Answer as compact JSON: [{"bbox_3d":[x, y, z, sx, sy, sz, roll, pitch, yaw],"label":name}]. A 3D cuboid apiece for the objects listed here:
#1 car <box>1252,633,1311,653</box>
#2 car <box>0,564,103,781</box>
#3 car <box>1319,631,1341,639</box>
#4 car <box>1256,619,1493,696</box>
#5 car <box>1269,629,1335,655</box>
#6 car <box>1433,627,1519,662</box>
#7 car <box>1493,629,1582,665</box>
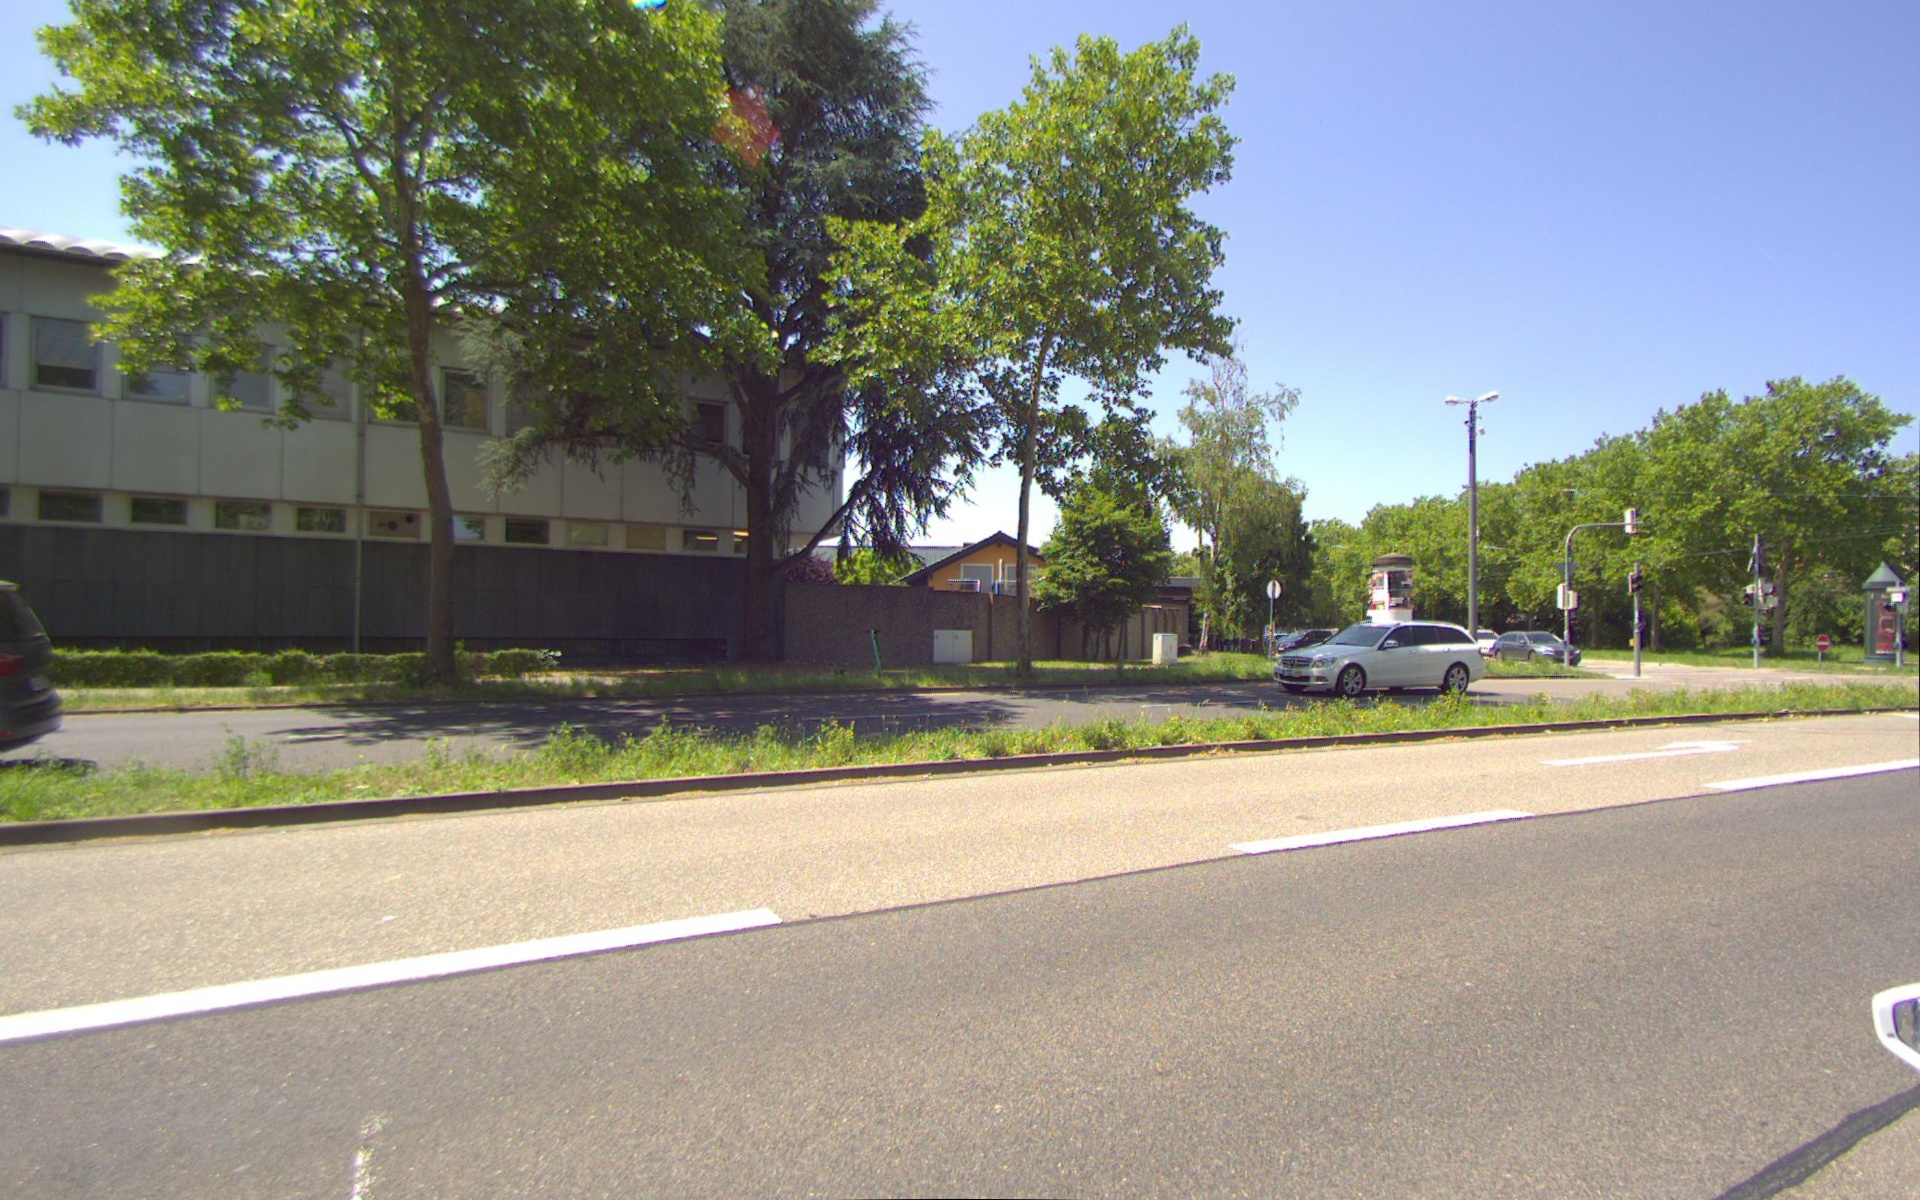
[{"bbox_3d":[24.365,3.250,76.156,4.004,1.442,1.936,1,-2,-24],"label":"car"},{"bbox_3d":[-9.651,0.536,7.544,4.568,1.678,1.940,1,-2,-31],"label":"car"},{"bbox_3d":[49.811,4.728,135.312,2.667,1.007,1.009,1,-1,-1],"label":"car"},{"bbox_3d":[8.442,1.130,20.478,4.481,1.437,1.850,1,-1,-22],"label":"car"},{"bbox_3d":[22.761,2.782,66.813,4.138,1.672,1.773,1,-2,-26],"label":"car"},{"bbox_3d":[25.810,2.202,50.421,2.172,1.626,4.463,0,-1,2],"label":"car"},{"bbox_3d":[25.064,1.999,43.747,1.729,1.476,3.994,0,-1,2],"label":"car"}]
